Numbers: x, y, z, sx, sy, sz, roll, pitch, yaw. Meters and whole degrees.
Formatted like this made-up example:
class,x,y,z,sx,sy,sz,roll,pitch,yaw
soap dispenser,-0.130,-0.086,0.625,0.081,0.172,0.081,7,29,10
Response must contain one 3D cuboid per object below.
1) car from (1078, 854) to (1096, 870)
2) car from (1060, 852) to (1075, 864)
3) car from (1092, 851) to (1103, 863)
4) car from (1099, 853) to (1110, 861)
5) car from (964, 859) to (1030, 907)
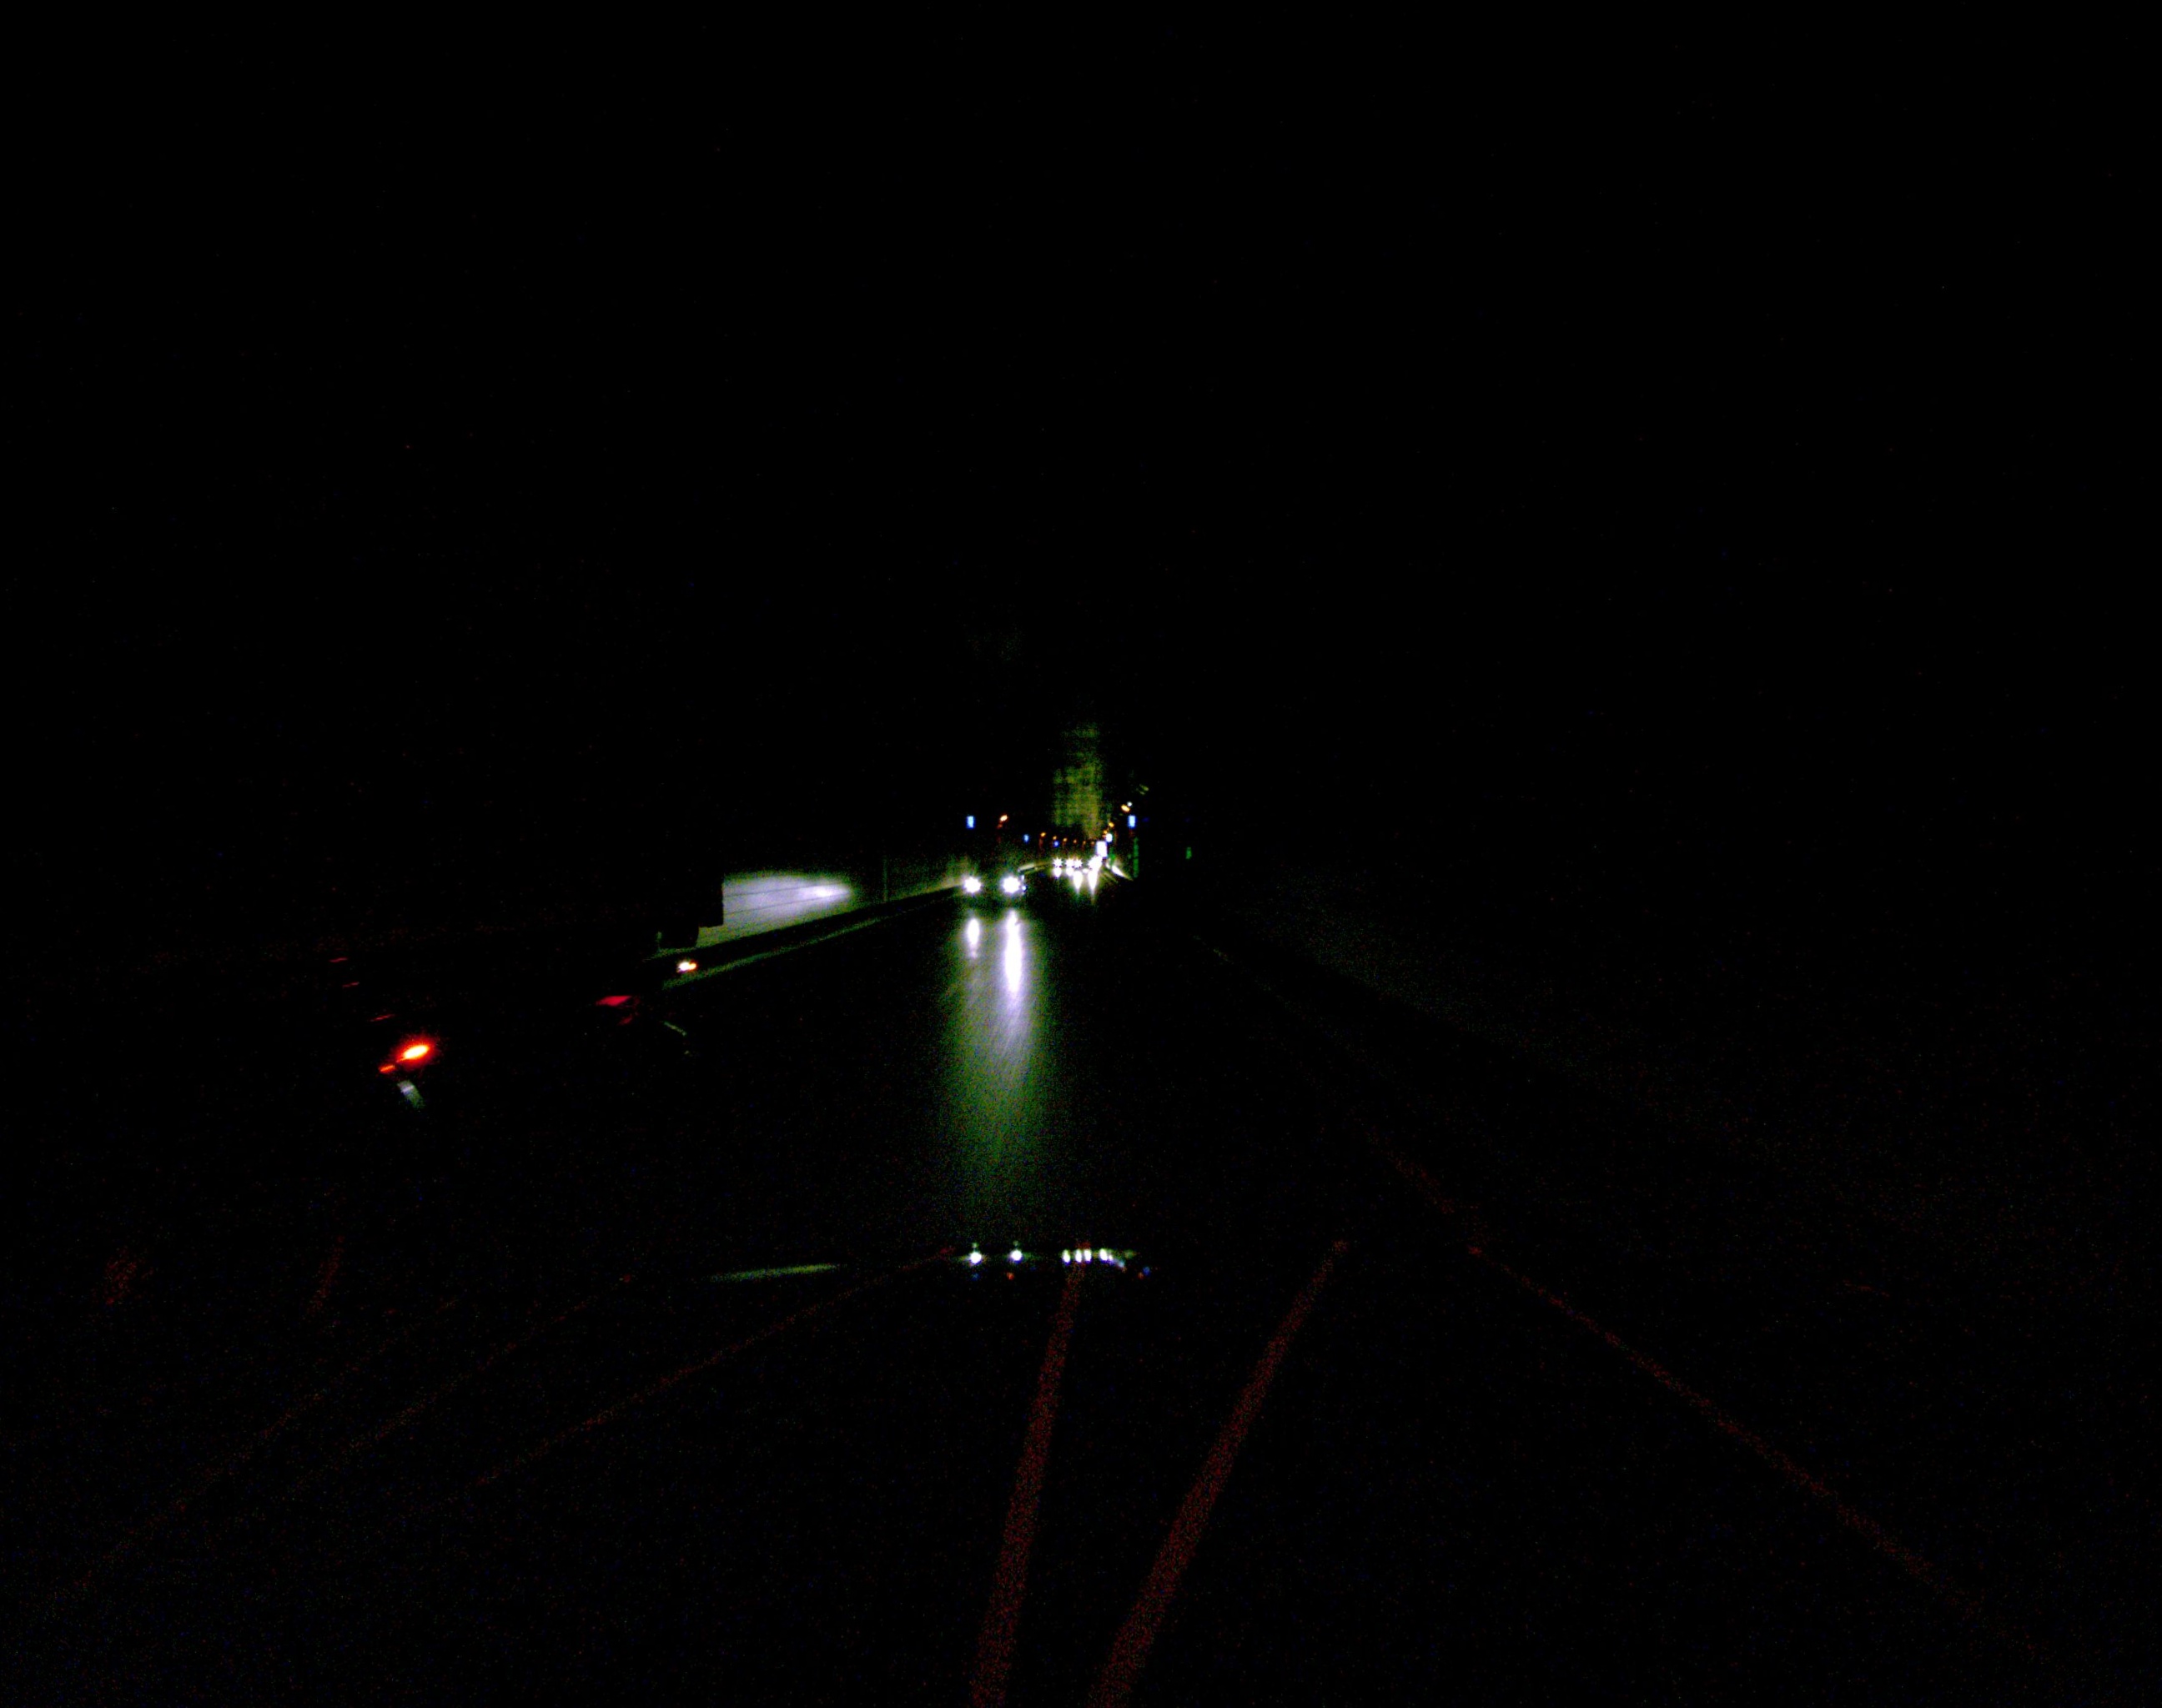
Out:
class,x,y,z,sx,sy,sz,roll,pitch,yaw
car,0.640,0.832,80.539,1.820,1.589,4.000,1,0,2
car,-1.694,0.524,98.675,1.735,1.565,4.000,-1,0,1
car,2.604,0.521,120.223,1.714,1.729,3.999,0,2,2
car,4.853,0.515,156.291,1.810,1.576,4.002,-1,0,7
car,-2.781,0.940,25.977,1.735,1.395,3.798,-2,1,1
